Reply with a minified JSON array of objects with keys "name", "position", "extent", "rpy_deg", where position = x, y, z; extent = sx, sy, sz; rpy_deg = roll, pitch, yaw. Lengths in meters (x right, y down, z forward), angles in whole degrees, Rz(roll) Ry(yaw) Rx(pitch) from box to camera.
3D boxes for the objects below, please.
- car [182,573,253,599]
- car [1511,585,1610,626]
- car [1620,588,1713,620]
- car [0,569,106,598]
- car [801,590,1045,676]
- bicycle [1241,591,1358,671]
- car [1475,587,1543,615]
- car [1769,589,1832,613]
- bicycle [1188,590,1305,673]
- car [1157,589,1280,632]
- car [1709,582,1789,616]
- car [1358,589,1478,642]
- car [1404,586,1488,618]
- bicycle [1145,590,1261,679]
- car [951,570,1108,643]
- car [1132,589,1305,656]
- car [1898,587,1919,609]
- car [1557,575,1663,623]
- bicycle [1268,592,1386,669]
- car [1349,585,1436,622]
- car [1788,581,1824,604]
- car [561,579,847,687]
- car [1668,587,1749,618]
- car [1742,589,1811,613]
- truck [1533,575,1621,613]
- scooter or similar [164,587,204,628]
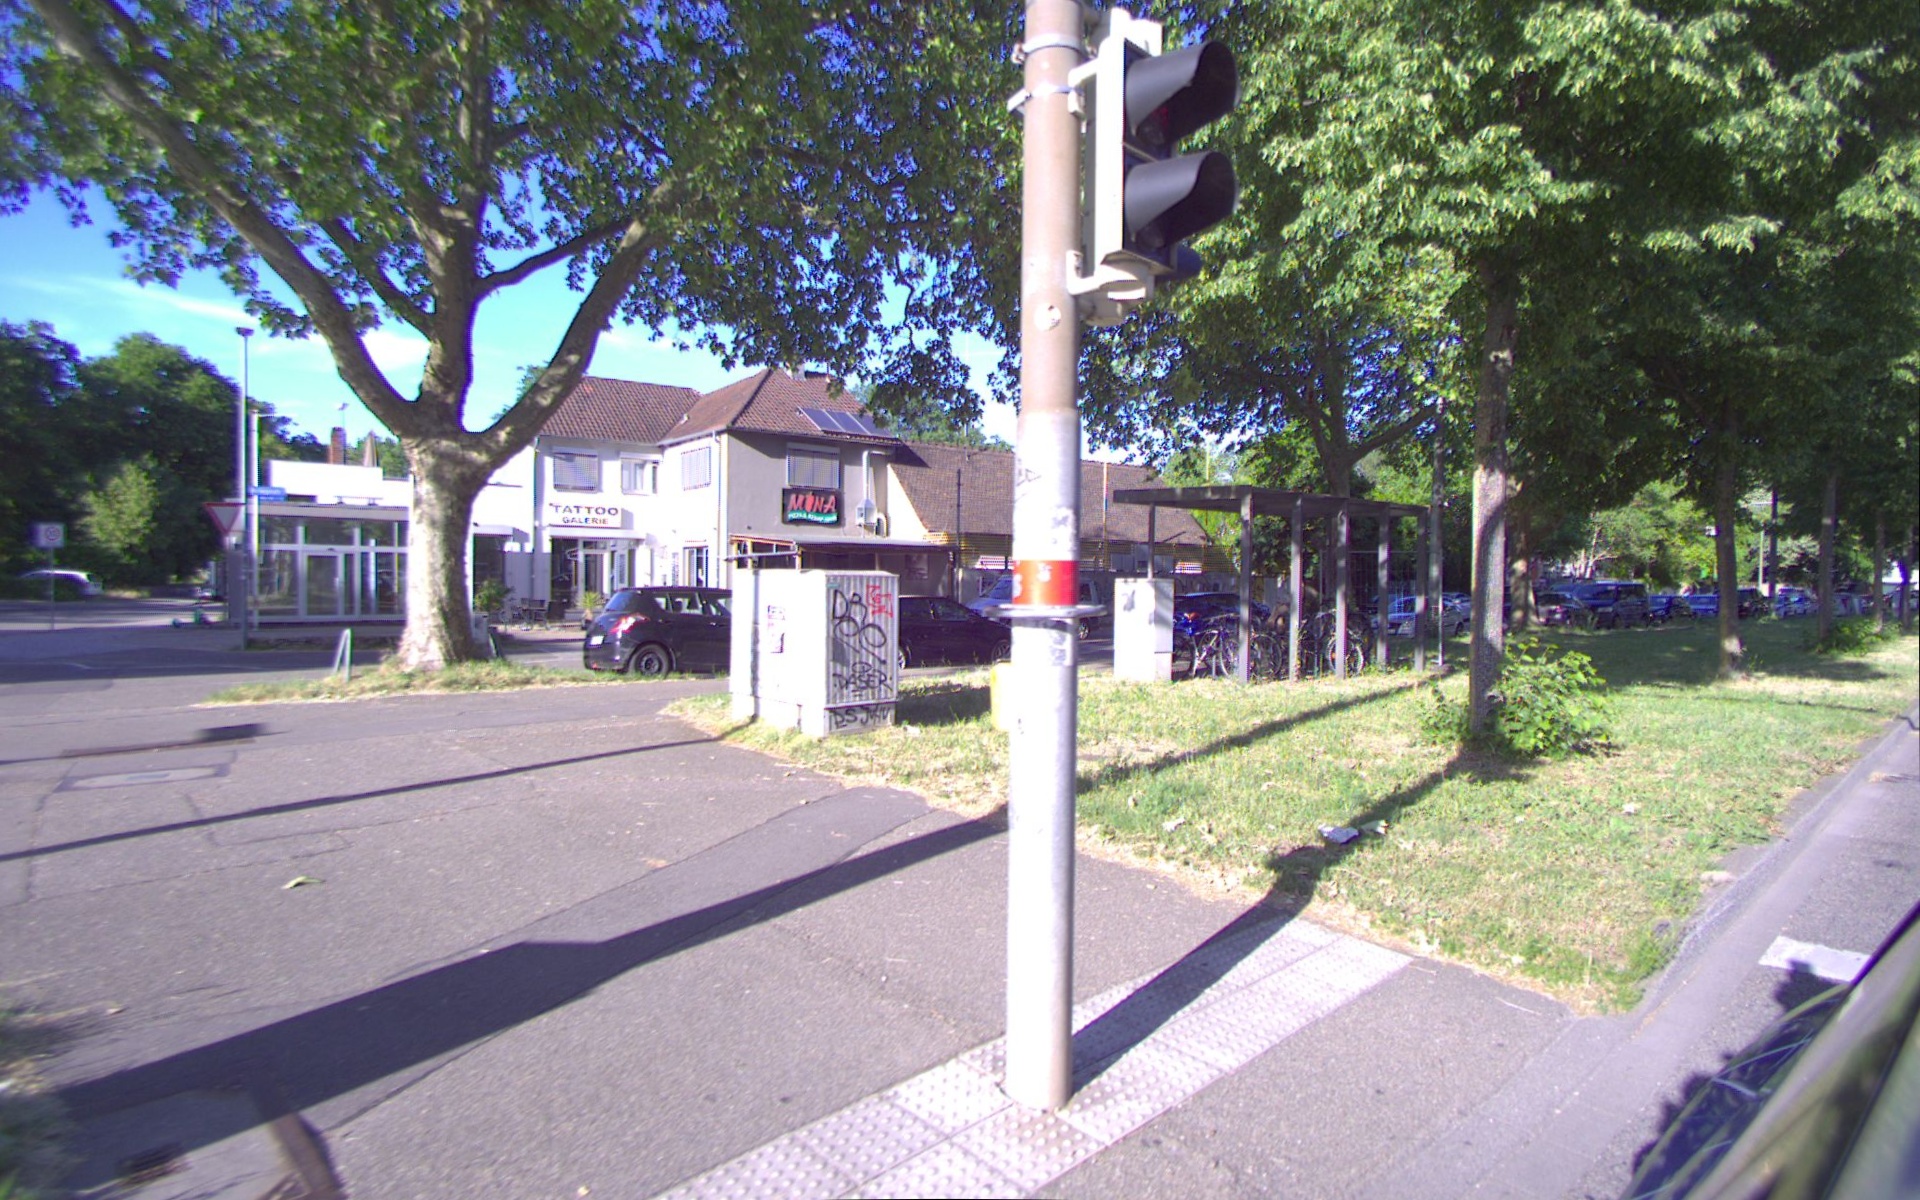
[{"name":"car","position":[-44.079,-0.874,60.178],"extent":[1.958,1.483,4.483],"rpy_deg":[1,1,-16]},{"name":"car","position":[21.673,0.170,36.479],"extent":[3.845,1.397,1.941],"rpy_deg":[0,1,-41]},{"name":"car","position":[30.109,0.140,43.099],"extent":[4.569,1.265,1.999],"rpy_deg":[0,1,-38]},{"name":"car","position":[-47.509,-0.840,52.848],"extent":[3.934,1.484,2.004],"rpy_deg":[0,0,-17]},{"name":"car","position":[-0.612,0.524,18.786],"extent":[4.268,1.429,1.898],"rpy_deg":[0,1,-39]},{"name":"bicycle","position":[5.277,0.449,15.804],"extent":[0.541,1.184,1.699],"rpy_deg":[0,0,-40]},{"name":"car","position":[29.324,0.017,54.029],"extent":[4.097,1.420,1.795],"rpy_deg":[0,1,-39]},{"name":"car","position":[47.855,0.021,57.591],"extent":[4.465,1.332,1.997],"rpy_deg":[0,1,-40]},{"name":"bicycle","position":[4.259,0.436,15.161],"extent":[0.541,1.184,1.700],"rpy_deg":[0,0,-39]},{"name":"car","position":[9.697,0.352,37.772],"extent":[4.823,1.504,1.899],"rpy_deg":[0,1,-37]},{"name":"car","position":[39.532,-0.072,50.674],"extent":[4.567,1.616,1.999],"rpy_deg":[0,1,-36]},{"name":"car","position":[13.937,0.419,30.710],"extent":[3.981,1.504,1.896],"rpy_deg":[0,1,-42]},{"name":"car","position":[24.136,0.069,50.174],"extent":[4.571,1.548,1.998],"rpy_deg":[0,1,-39]},{"name":"bicycle","position":[3.421,0.450,14.397],"extent":[0.540,1.184,1.702],"rpy_deg":[0,0,-33]},{"name":"car","position":[2.240,0.160,31.604],"extent":[4.981,2.061,1.898],"rpy_deg":[0,3,-40]},{"name":"car","position":[6.368,0.480,24.755],"extent":[4.267,1.507,1.899],"rpy_deg":[0,1,-38]},{"name":"car","position":[70.363,-0.155,74.208],"extent":[3.931,1.605,1.997],"rpy_deg":[0,1,-41]},{"name":"car","position":[25.530,-0.058,39.684],"extent":[4.929,1.764,2.037],"rpy_deg":[0,1,-38]},{"name":"bicycle","position":[5.976,0.466,16.573],"extent":[0.541,1.184,1.807],"rpy_deg":[0,0,-38]},{"name":"car","position":[19.984,0.121,46.671],"extent":[4.576,1.548,1.997],"rpy_deg":[0,3,-43]},{"name":"car","position":[77.230,-0.658,92.344],"extent":[3.931,2.039,1.997],"rpy_deg":[0,1,-41]},{"name":"car","position":[-3.951,0.436,15.922],"extent":[3.965,1.484,1.898],"rpy_deg":[0,1,-40]},{"name":"car","position":[35.223,0.094,47.578],"extent":[4.779,1.380,1.998],"rpy_deg":[0,1,-40]},{"name":"car","position":[43.664,0.052,54.107],"extent":[4.038,1.226,1.999],"rpy_deg":[0,1,-38]},{"name":"truck","position":[36.519,-0.378,59.795],"extent":[6.463,2.101,2.454],"rpy_deg":[0,1,-39]},{"name":"scooter or similar","position":[-22.348,0.208,29.138],"extent":[0.994,1.178,0.261],"rpy_deg":[1,0,6]}]
